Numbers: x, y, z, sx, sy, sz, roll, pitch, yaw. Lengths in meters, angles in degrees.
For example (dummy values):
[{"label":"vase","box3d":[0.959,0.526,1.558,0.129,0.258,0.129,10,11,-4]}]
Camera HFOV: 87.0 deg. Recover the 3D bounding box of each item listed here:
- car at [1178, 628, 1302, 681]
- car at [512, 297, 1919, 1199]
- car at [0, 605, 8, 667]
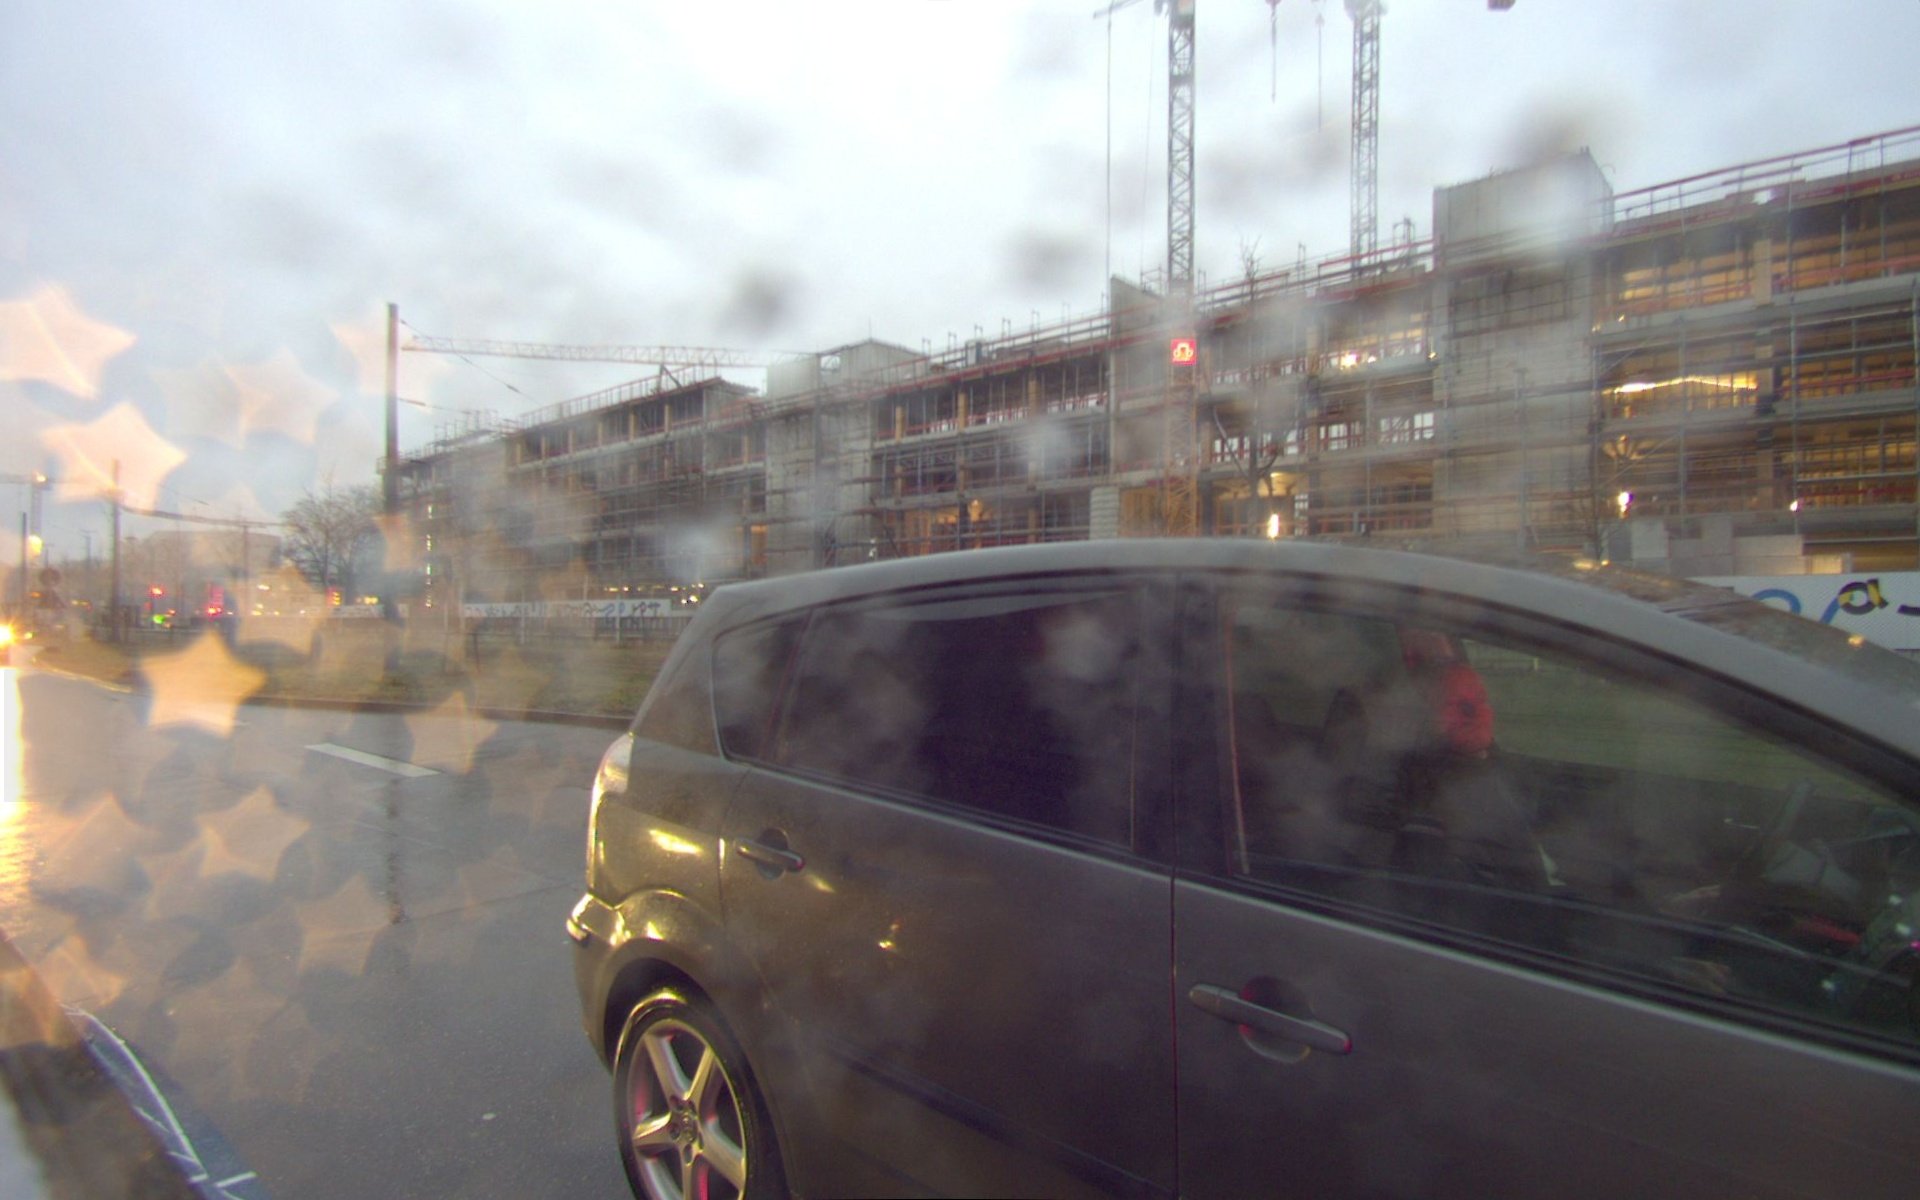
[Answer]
[{"label":"car","box3d":[10.321,1.961,37.429,3.996,1.785,1.974,-1,0,39]},{"label":"car","box3d":[1.022,0.539,1.841,3.996,1.606,1.742,-1,0,39]},{"label":"car","box3d":[-29.461,1.057,29.772,4.000,1.746,1.833,-1,0,43]}]
